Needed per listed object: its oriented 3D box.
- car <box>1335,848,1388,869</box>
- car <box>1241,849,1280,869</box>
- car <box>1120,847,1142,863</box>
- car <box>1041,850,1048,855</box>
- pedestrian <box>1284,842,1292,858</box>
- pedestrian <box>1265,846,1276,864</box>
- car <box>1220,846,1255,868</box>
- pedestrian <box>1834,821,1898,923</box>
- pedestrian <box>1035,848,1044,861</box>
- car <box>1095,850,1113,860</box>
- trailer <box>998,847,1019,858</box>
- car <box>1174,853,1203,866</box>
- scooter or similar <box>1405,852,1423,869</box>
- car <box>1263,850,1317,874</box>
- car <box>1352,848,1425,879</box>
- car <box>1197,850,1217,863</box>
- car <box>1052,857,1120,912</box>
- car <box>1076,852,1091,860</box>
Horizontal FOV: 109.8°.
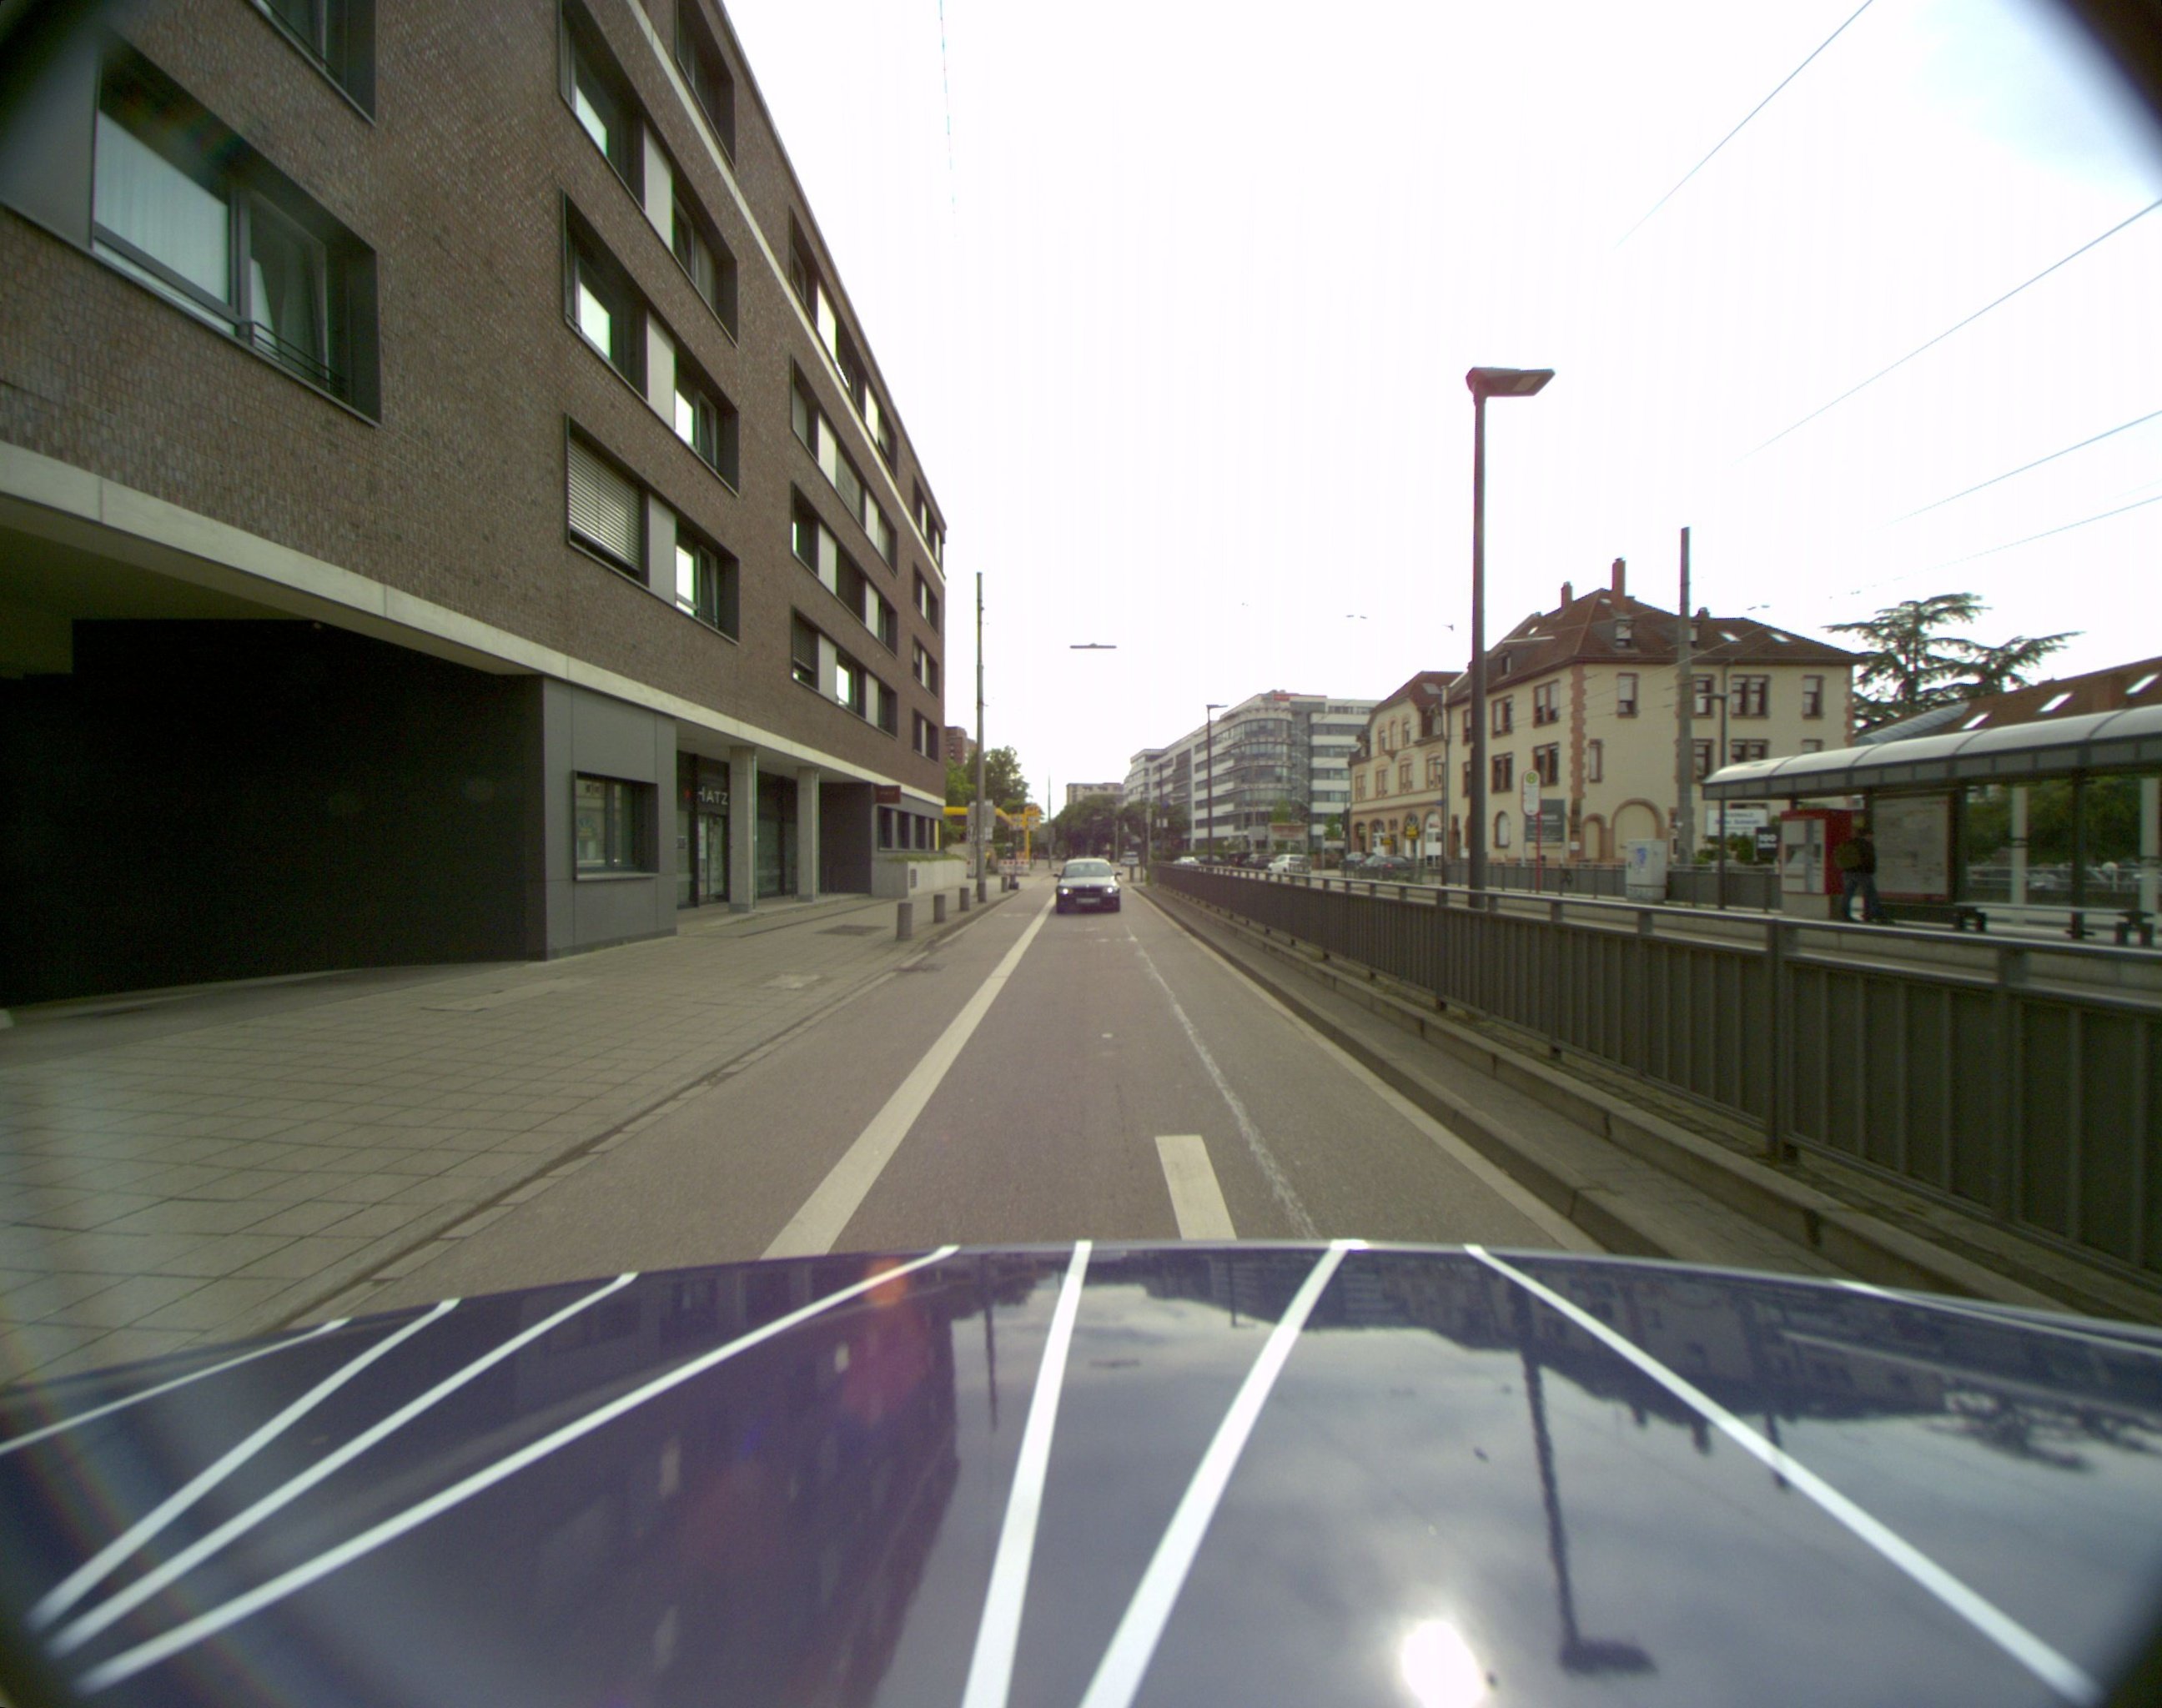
[{"bbox_3d":[22.025,0.298,59.861,1.999,1.484,4.900,-3,1,-4],"label":"car"},{"bbox_3d":[16.638,0.434,70.662,2.043,1.739,4.532,-2,0,-6],"label":"car"},{"bbox_3d":[6.332,0.083,96.769,1.890,1.977,4.521,0,1,-9],"label":"car"},{"bbox_3d":[-12.514,-0.500,257.045,1.848,1.714,4.403,0,1,-10],"label":"car"},{"bbox_3d":[22.510,-0.456,82.616,0.636,1.764,0.761,-1,1,-1],"label":"pedestrian"},{"bbox_3d":[19.082,0.123,76.403,0.806,1.815,1.059,-1,1,-3],"label":"pedestrian"},{"bbox_3d":[15.700,0.270,76.339,1.992,2.002,5.181,-2,1,-5],"label":"car"},{"bbox_3d":[13.224,0.284,12.797,0.698,1.655,0.616,-2,2,-32],"label":"pedestrian"},{"bbox_3d":[-6.027,0.066,109.674,0.871,1.738,0.848,2,1,-32],"label":"pedestrian"},{"bbox_3d":[3.484,0.142,115.932,1.887,1.420,4.420,1,1,-8],"label":"car"},{"bbox_3d":[-11.487,-0.260,119.817,3.292,1.523,1.772,1,3,-6],"label":"trailer"},{"bbox_3d":[10.634,0.538,75.424,1.756,1.291,3.829,0,1,-8],"label":"car"},{"bbox_3d":[22.053,0.401,50.258,1.180,1.095,0.526,-2,1,-33],"label":"scooter or similar"},{"bbox_3d":[14.162,0.505,51.707,1.871,1.477,3.995,2,0,-11],"label":"car"},{"bbox_3d":[15.560,0.449,38.638,1.768,1.443,3.997,1,1,-5],"label":"car"},{"bbox_3d":[14.589,0.274,87.663,1.792,1.521,4.146,2,1,15],"label":"car"},{"bbox_3d":[0.191,0.815,22.330,1.786,1.361,4.113,-1,1,1],"label":"car"},{"bbox_3d":[0.451,0.413,139.922,1.911,1.464,4.815,1,1,-10],"label":"car"}]
